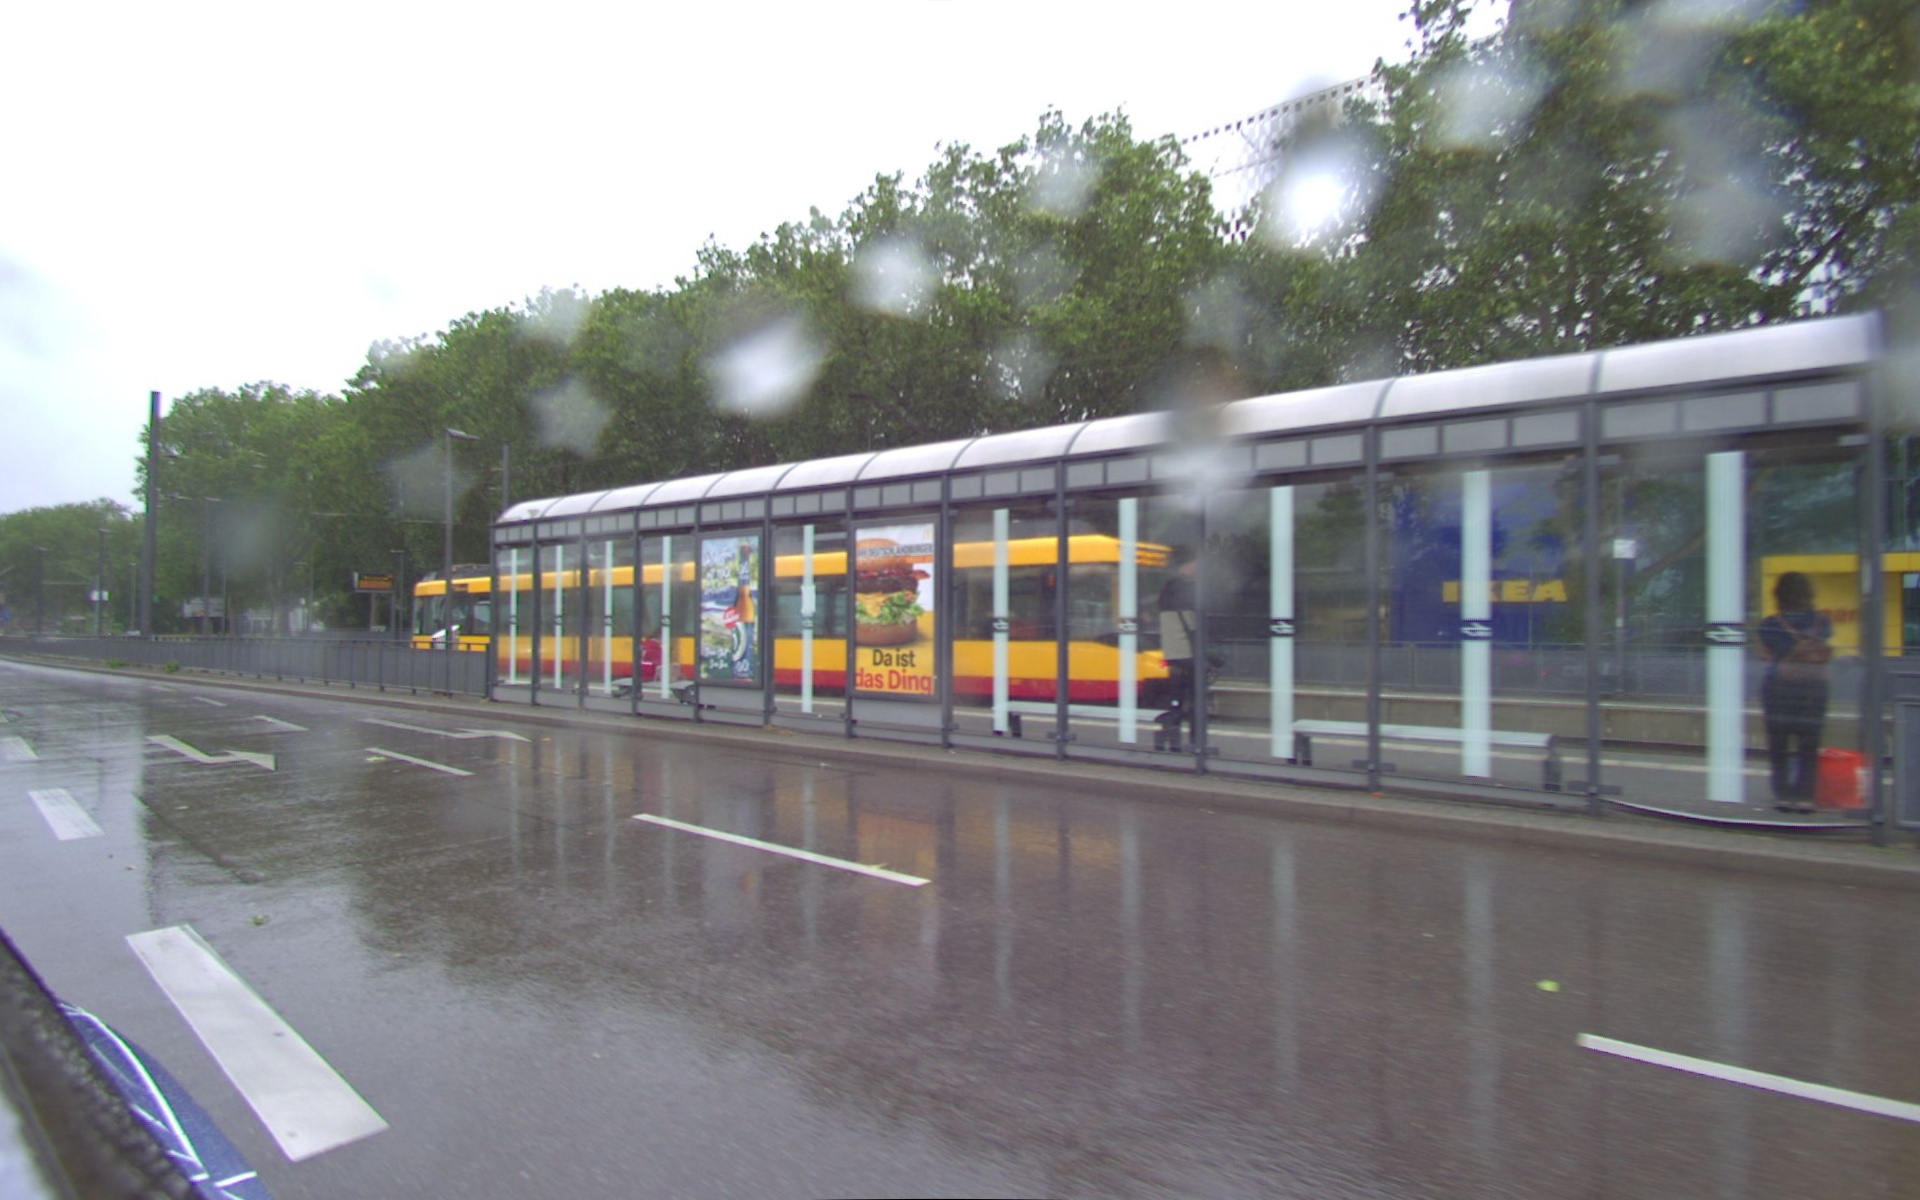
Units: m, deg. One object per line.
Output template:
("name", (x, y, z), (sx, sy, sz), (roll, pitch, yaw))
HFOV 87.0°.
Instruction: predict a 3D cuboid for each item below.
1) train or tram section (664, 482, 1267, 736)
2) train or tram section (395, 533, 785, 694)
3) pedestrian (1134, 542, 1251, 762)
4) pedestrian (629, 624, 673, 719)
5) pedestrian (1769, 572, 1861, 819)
("train or tram section", (-0.719, 0.187, 21.135), (13.243, 3.868, 3.704), (-1, 0, 40))
("train or tram section", (-11.799, 0.380, 30.404), (15.558, 3.827, 3.704), (-1, 0, 40))
("pedestrian", (2.102, 0.443, 9.179), (0.646, 1.885, 0.774), (-1, 0, -34))
("pedestrian", (-4.209, 0.957, 13.773), (0.451, 1.245, 0.468), (0, 0, -36))
("pedestrian", (5.402, 0.577, 6.396), (0.317, 1.504, 0.416), (-1, 1, -45))
